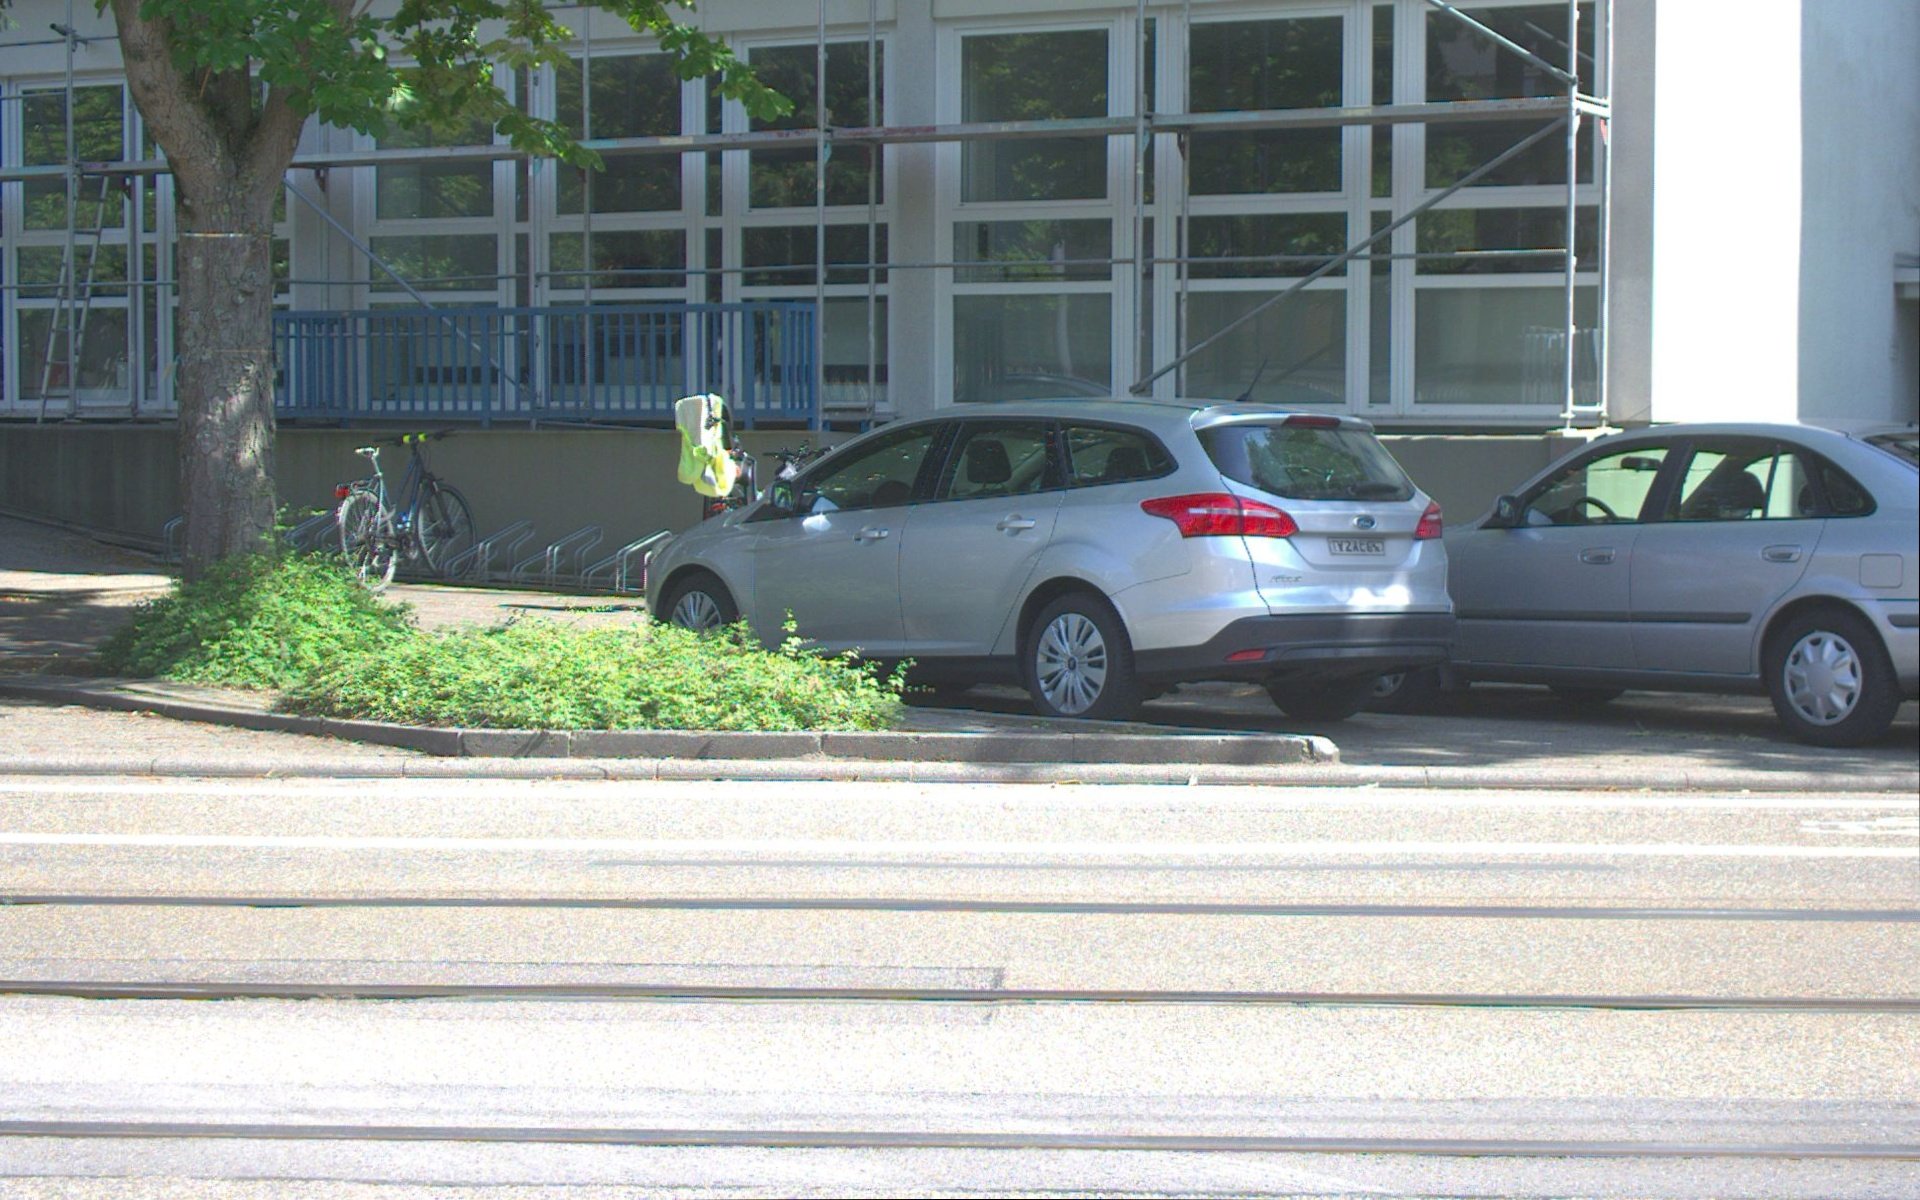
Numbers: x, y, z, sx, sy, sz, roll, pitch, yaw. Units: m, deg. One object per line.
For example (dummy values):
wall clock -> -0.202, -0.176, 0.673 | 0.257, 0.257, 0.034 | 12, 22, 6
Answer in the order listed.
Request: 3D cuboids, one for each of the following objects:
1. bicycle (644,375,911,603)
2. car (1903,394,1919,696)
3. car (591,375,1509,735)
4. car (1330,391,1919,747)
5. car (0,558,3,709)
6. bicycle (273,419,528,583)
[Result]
bicycle -> -1.191, -0.766, 22.942 | 0.662, 1.448, 2.086 | 2, 4, 34
car -> 6.538, -0.252, 15.943 | 1.608, 1.481, 3.944 | -3, 3, -41
car -> 0.291, -0.310, 16.361 | 1.780, 1.481, 4.434 | -3, 4, -43
car -> 3.704, -0.218, 15.855 | 1.608, 1.481, 3.944 | -3, 4, -40
car -> -6.062, -0.312, 16.183 | 1.572, 1.525, 3.457 | -3, 4, -43
bicycle -> -3.875, -0.717, 24.009 | 0.742, 1.082, 2.201 | 1, 3, 21
